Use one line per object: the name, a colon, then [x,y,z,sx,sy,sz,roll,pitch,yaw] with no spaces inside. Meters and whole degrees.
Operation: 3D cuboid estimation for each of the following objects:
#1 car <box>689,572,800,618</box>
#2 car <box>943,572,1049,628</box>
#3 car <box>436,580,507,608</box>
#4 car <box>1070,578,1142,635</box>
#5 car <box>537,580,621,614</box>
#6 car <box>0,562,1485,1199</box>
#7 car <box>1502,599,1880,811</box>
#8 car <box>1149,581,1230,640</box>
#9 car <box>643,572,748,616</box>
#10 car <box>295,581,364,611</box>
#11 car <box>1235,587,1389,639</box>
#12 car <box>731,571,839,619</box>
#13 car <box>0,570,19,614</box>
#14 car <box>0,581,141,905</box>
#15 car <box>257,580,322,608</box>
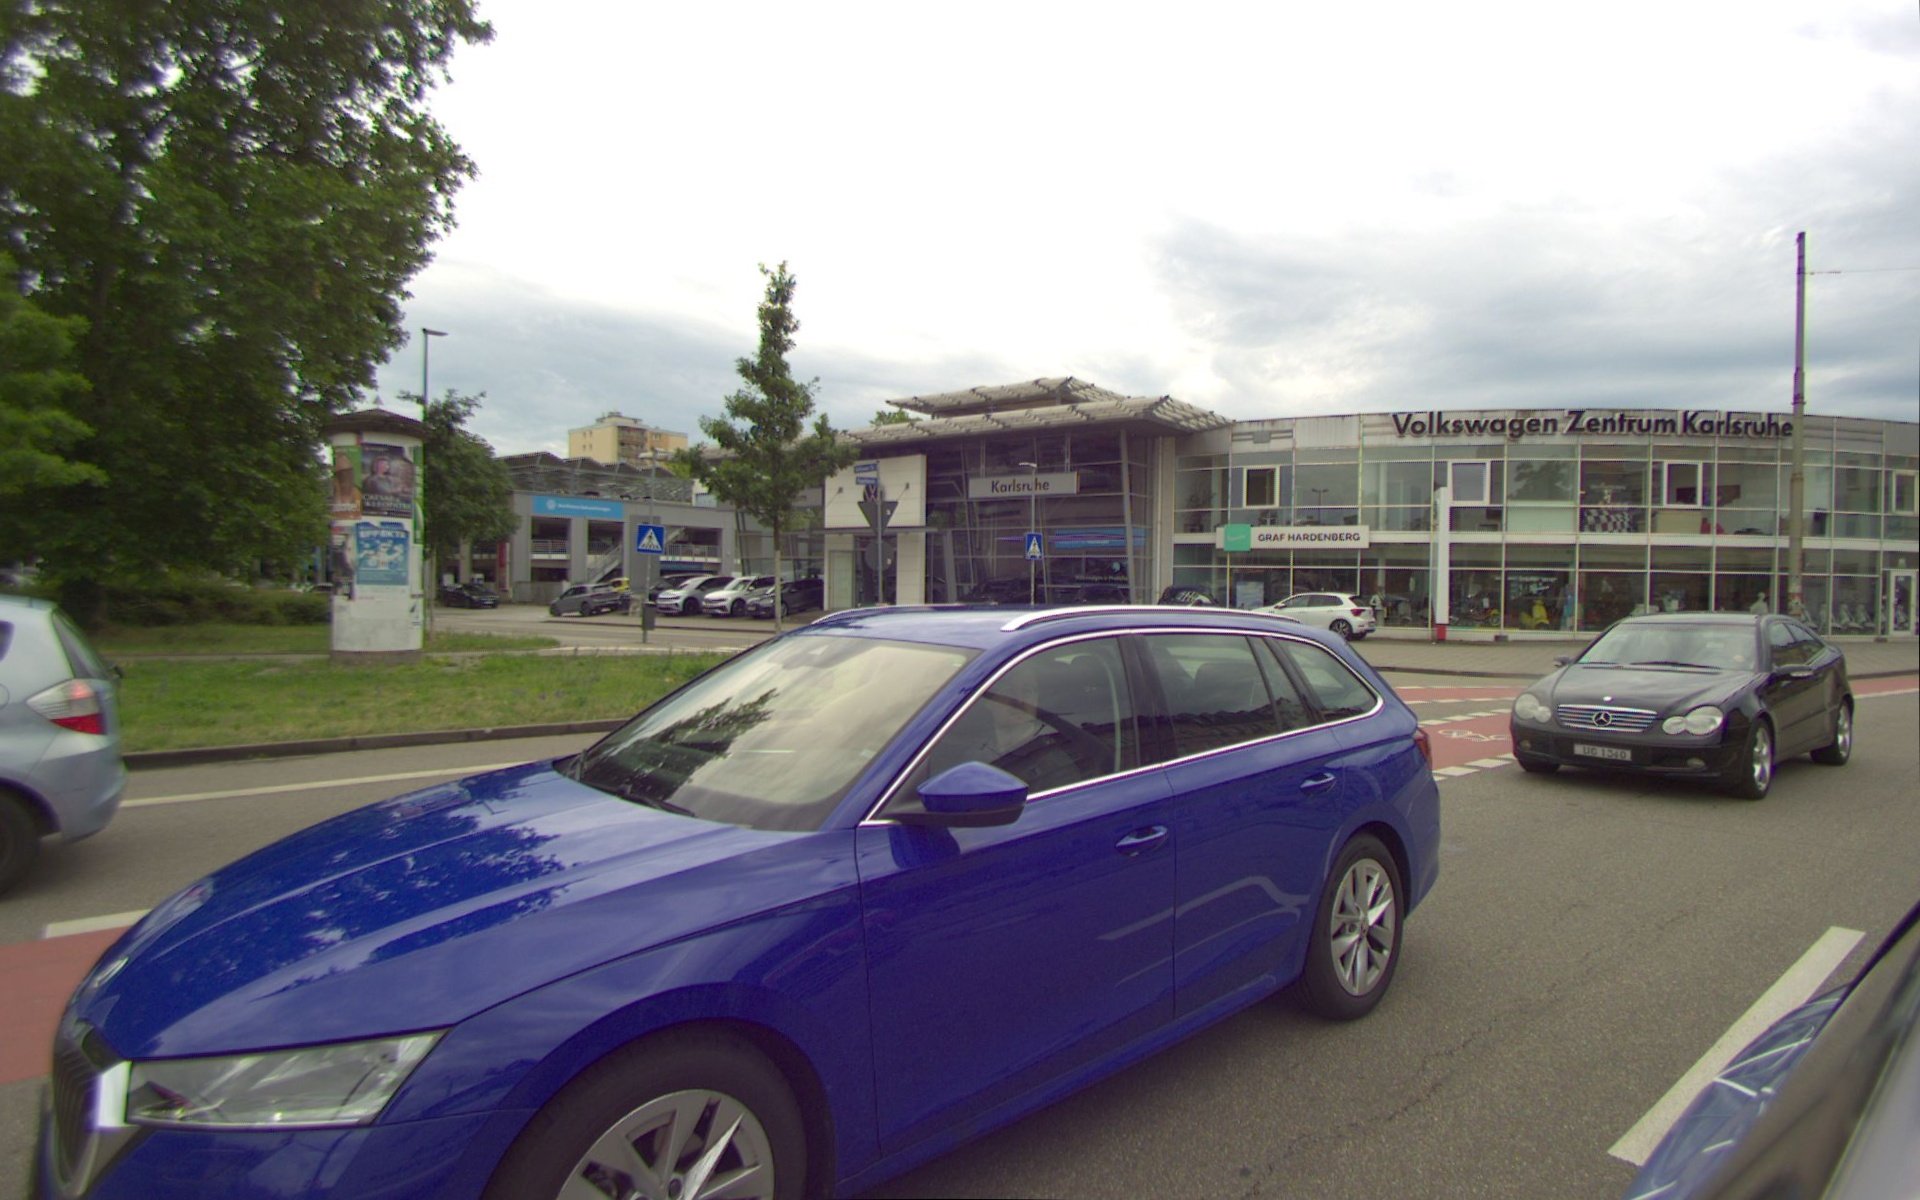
car: [-9.407,-0.267,44.589,1.850,1.719,4.716,0,4,36]
car: [1.360,-0.045,35.868,1.846,1.652,4.464,0,4,31]
car: [-28.994,-0.393,60.042,4.446,1.567,1.876,2,2,35]
car: [4.702,0.162,33.120,1.824,1.522,4.340,0,4,2]
car: [-18.645,-0.155,49.490,3.988,1.583,1.896,0,2,35]
car: [-0.117,0.663,3.340,4.387,1.507,1.783,-1,2,-41]
car: [6.620,0.736,9.018,3.996,1.439,1.714,0,1,-39]
car: [7.349,0.284,32.739,1.867,1.581,4.219,1,3,4]
car: [-11.987,-0.323,46.184,1.859,1.719,4.419,0,4,37]
car: [-37.071,-0.278,59.496,4.446,1.643,1.838,2,2,35]
car: [11.006,0.363,31.787,4.243,1.471,1.757,1,1,40]
car: [-7.324,-0.242,42.844,1.886,1.717,4.421,0,4,36]
car: [-36.507,-0.325,36.327,4.408,1.567,1.854,1,1,13]
car: [-6.133,0.652,4.337,4.027,1.485,1.752,0,1,-41]
car: [-41.726,-0.405,62.969,4.446,1.643,1.838,2,2,35]
